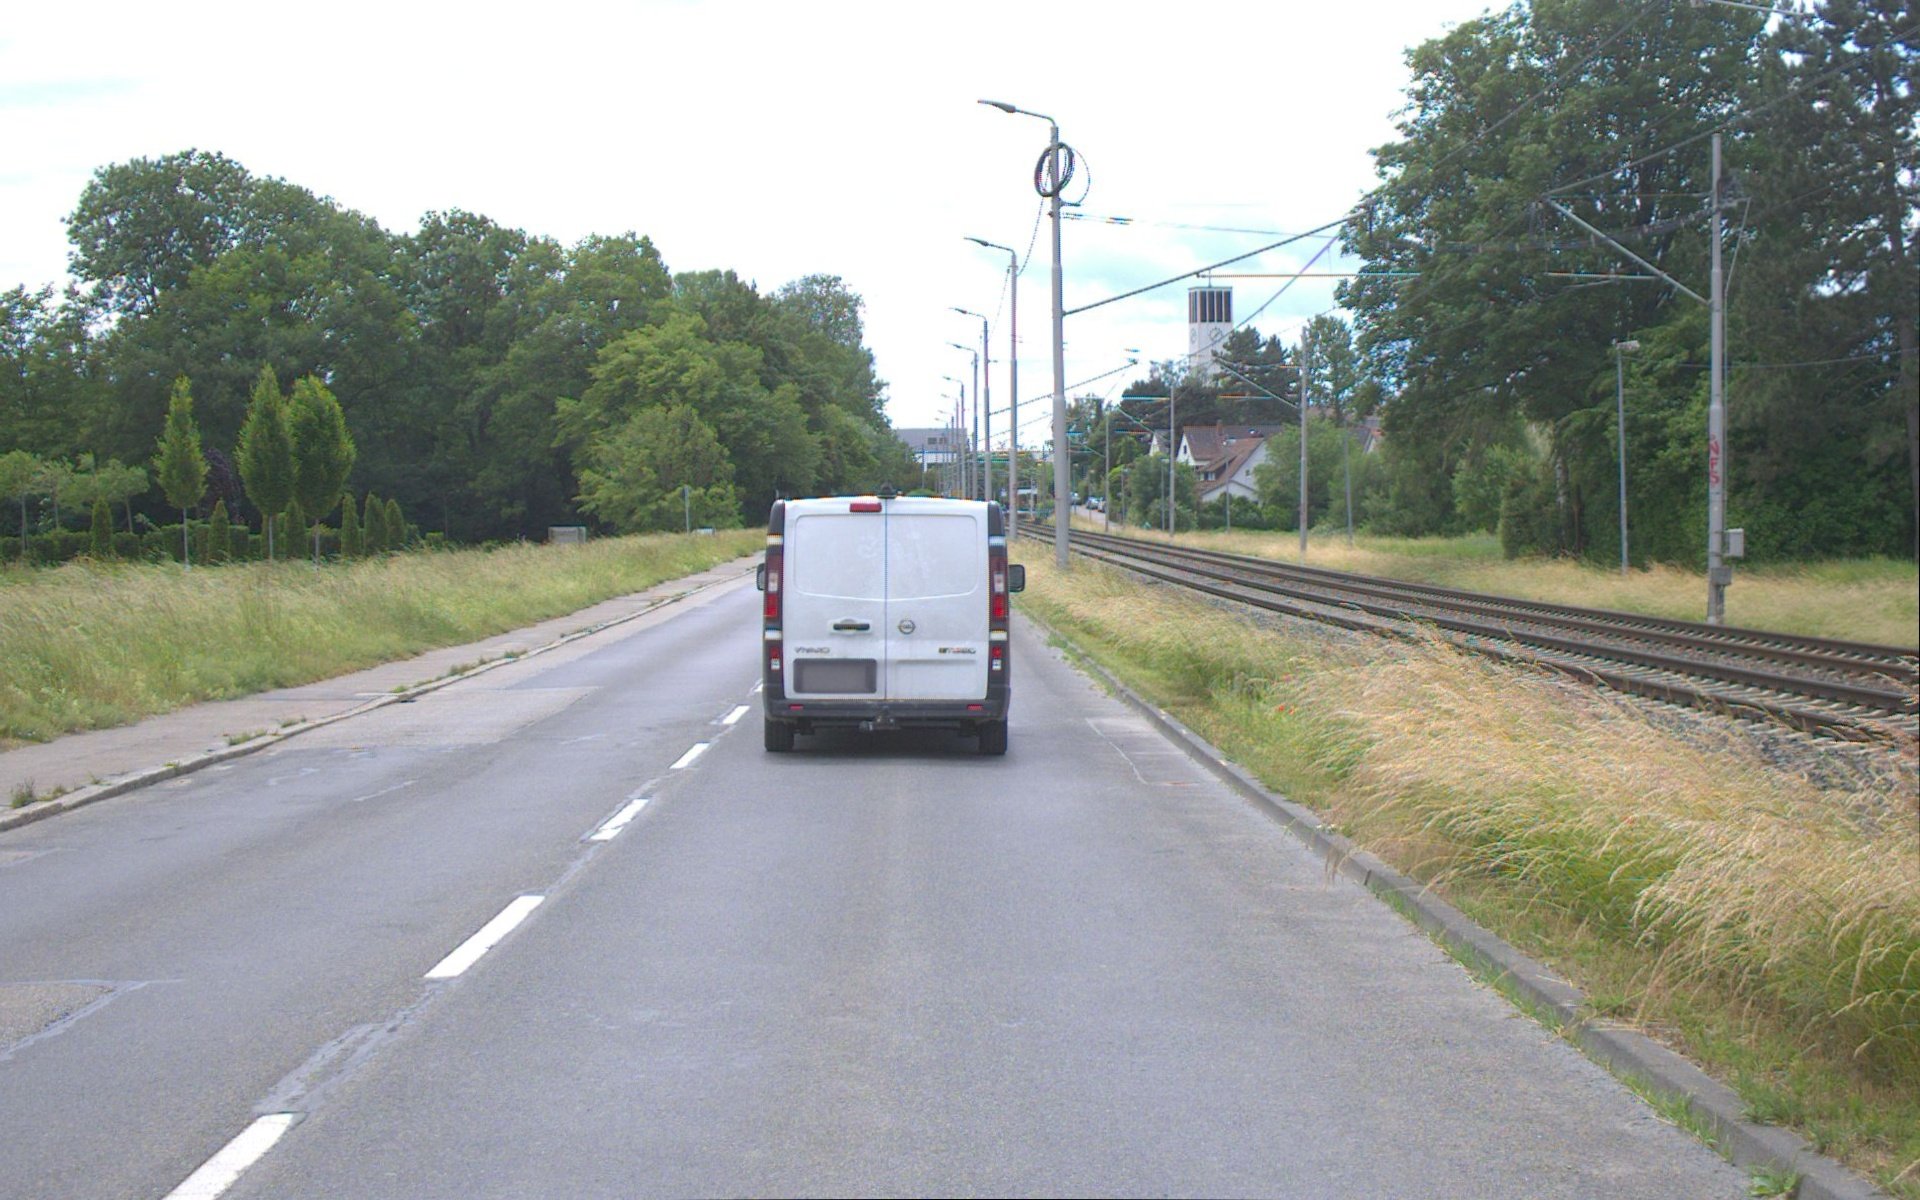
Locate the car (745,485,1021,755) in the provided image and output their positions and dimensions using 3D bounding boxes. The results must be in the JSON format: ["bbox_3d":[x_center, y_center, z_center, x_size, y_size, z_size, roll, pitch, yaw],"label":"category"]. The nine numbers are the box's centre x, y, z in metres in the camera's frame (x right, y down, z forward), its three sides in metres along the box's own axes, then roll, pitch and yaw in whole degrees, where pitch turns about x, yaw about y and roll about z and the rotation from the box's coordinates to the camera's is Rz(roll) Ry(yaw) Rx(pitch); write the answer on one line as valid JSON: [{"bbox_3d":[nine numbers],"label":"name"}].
[{"bbox_3d":[-0.617,0.119,27.024,1.993,1.950,4.000,0,1,-2],"label":"car"}]
